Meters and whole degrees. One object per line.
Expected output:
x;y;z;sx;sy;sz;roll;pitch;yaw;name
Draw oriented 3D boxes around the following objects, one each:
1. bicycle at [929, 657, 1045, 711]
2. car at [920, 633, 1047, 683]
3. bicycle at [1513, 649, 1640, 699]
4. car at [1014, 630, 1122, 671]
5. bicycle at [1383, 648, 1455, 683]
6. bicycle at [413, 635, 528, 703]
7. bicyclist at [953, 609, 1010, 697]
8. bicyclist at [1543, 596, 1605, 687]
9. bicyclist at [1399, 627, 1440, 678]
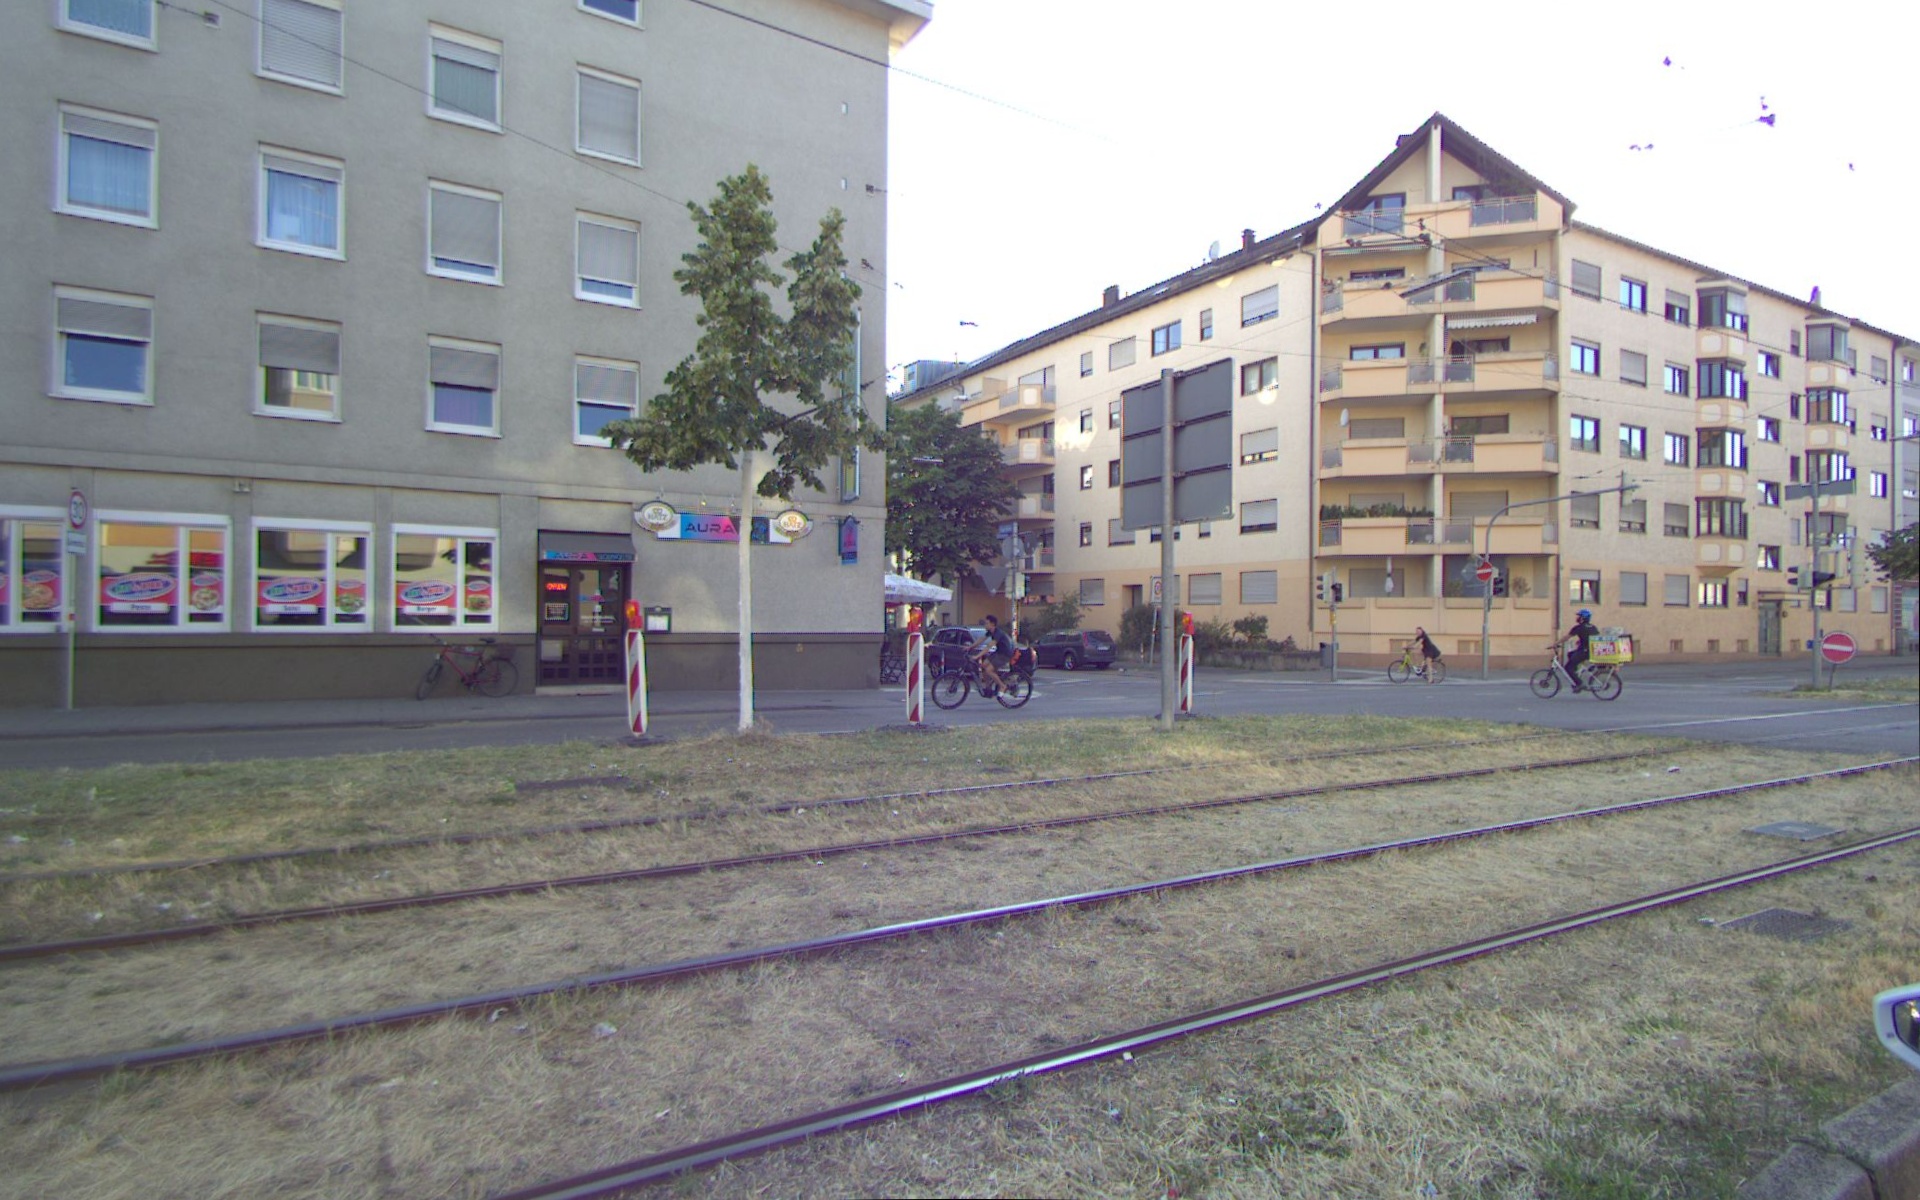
0.487;1.500;18.099;1.952;0.906;0.784;1;-1;-16;bicycle
0.675;1.759;31.335;1.751;1.406;4.074;2;-2;-39;car
12.502;1.494;20.443;0.738;0.970;2.062;1;-4;-32;bicycle
3.970;1.859;37.535;1.776;1.458;3.926;2;-2;-39;car
13.376;1.897;29.290;1.846;0.997;0.529;0;-1;0;bicycle
-8.572;1.190;17.620;1.757;1.129;0.743;1;-1;-31;bicycle
0.382;0.952;18.083;0.891;1.546;0.646;1;-1;-15;bicyclist
12.497;0.832;20.453;0.712;1.776;0.789;2;0;-32;bicyclist
13.417;1.526;29.328;0.946;1.466;0.529;0;-1;0;bicyclist
